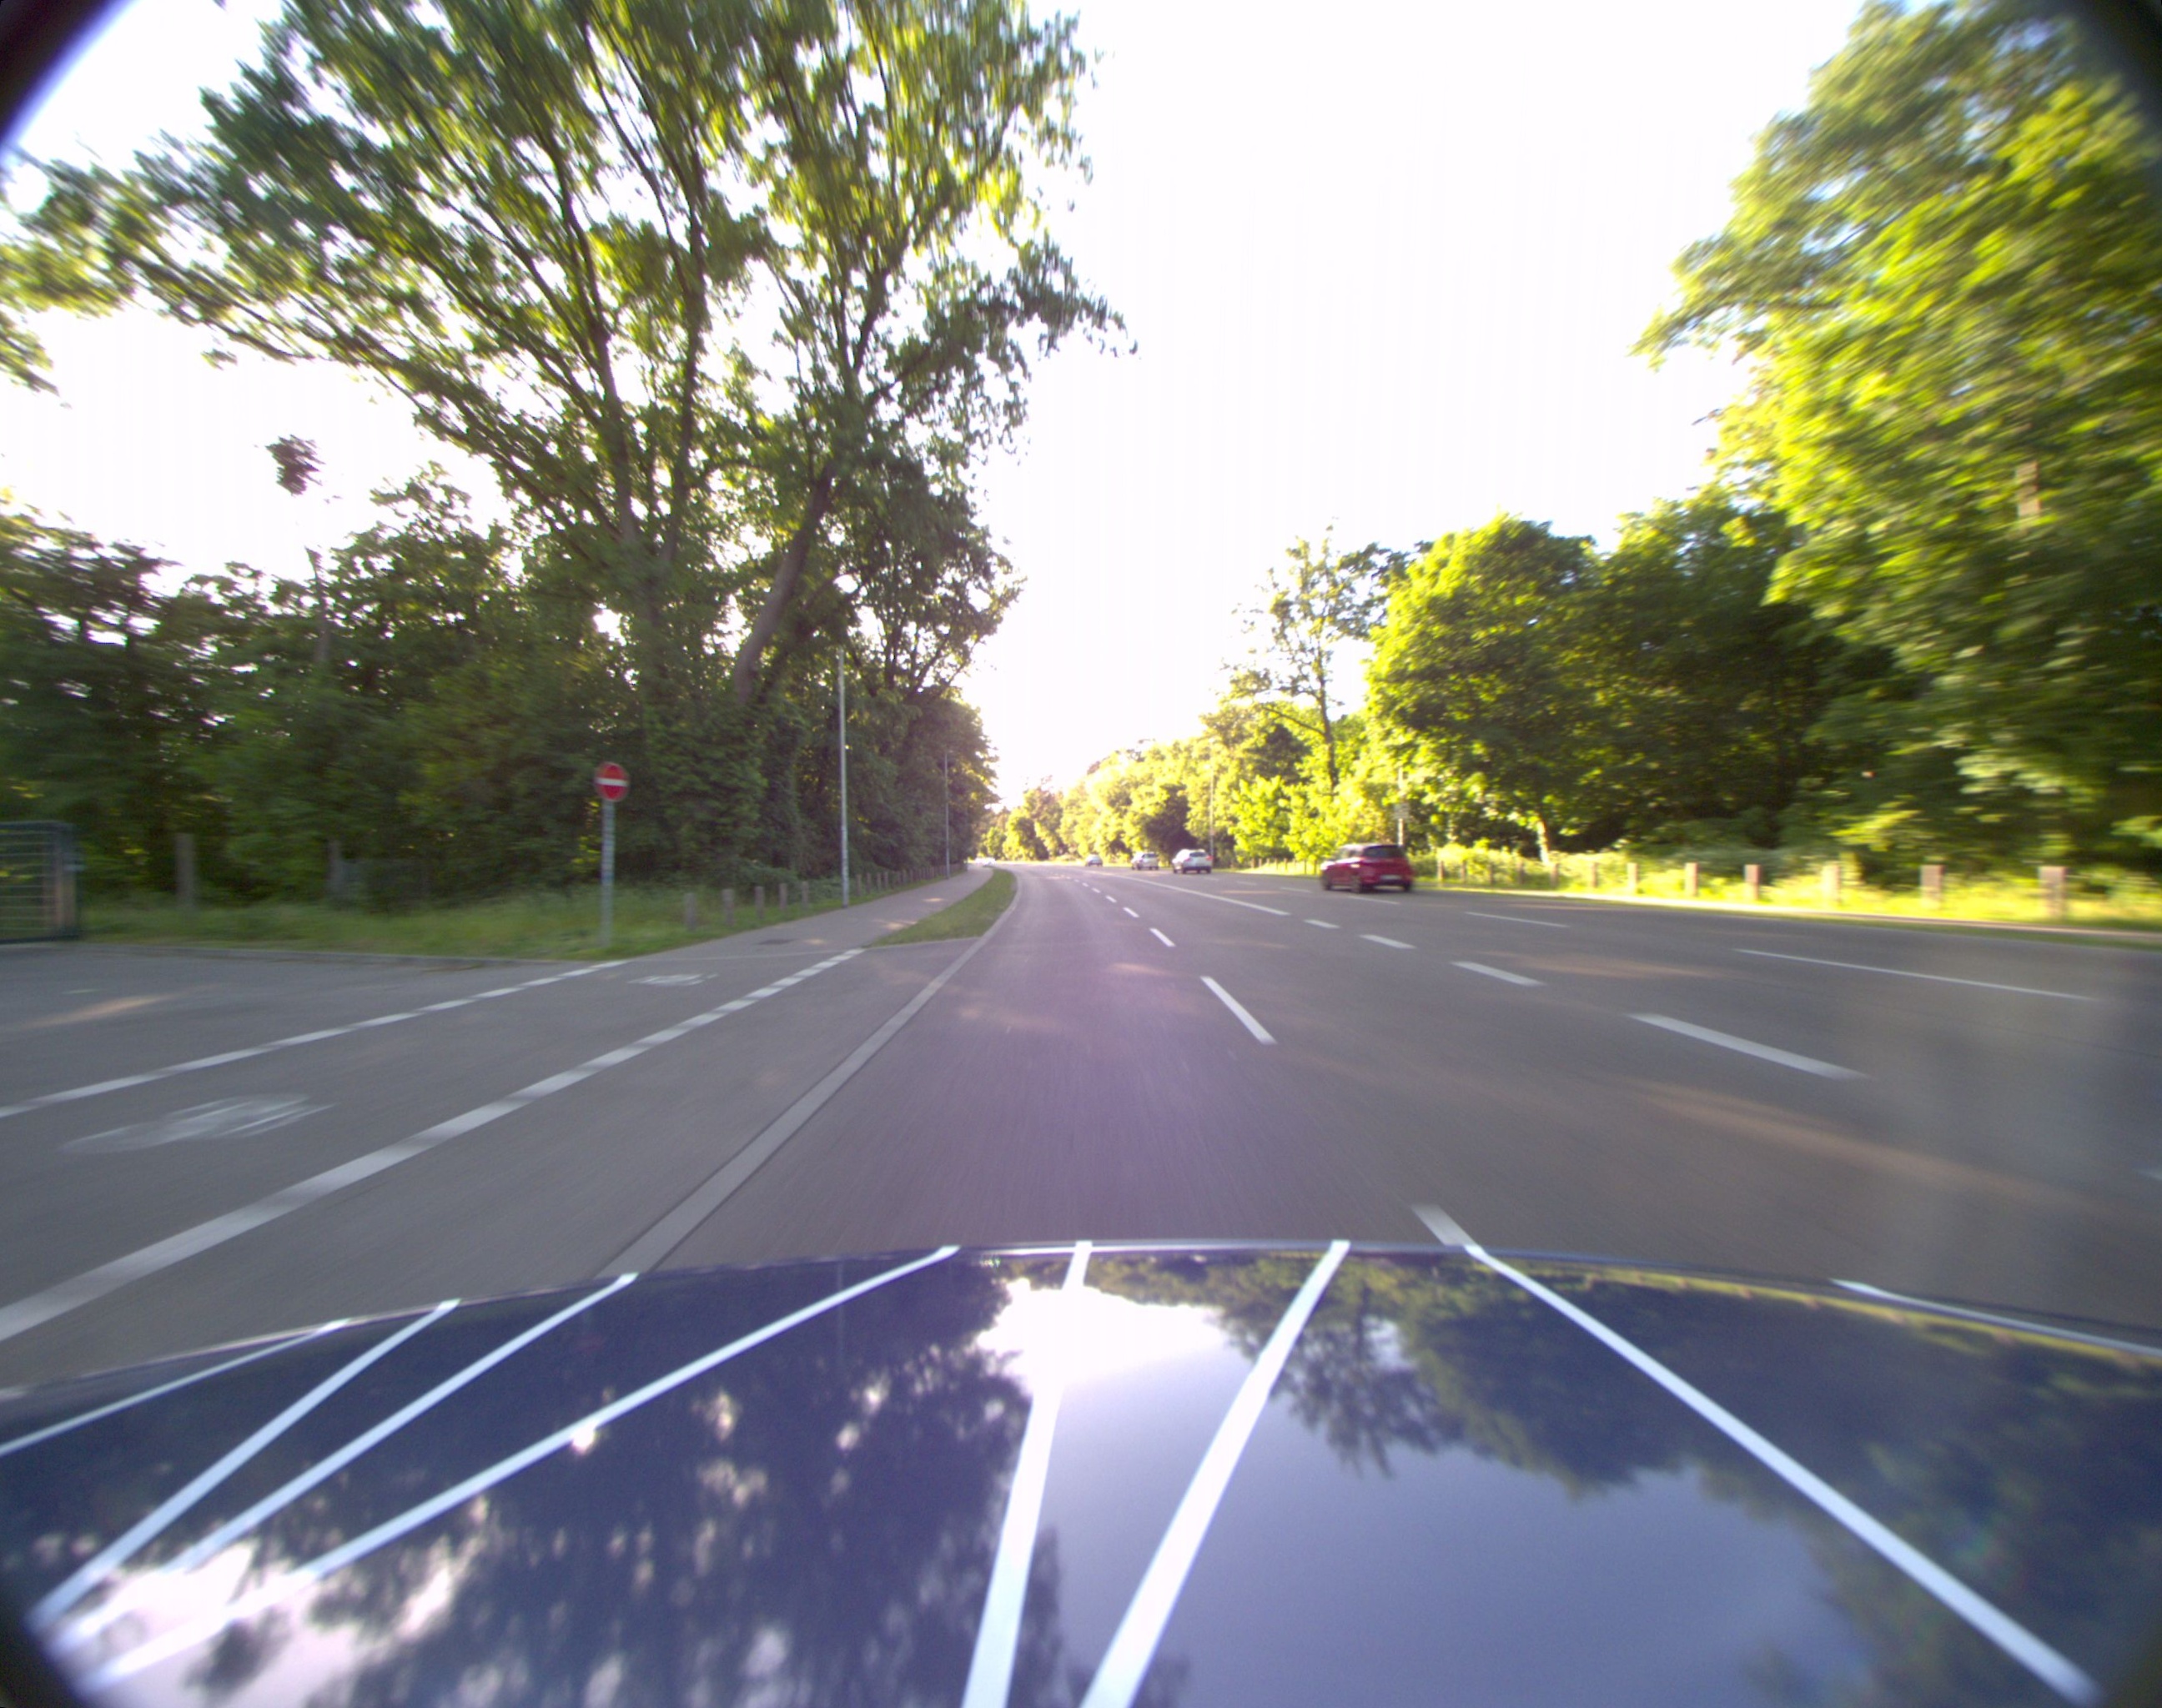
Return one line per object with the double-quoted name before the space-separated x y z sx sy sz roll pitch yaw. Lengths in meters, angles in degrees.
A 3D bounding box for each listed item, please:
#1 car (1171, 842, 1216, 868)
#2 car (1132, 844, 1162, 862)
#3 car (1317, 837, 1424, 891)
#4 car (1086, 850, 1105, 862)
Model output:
"car" 7.066 0.063 48.072 1.788 1.513 4.395 -2 0 -6
"car" 5.425 -0.098 63.110 1.785 1.455 4.272 0 1 -5
"car" 8.752 0.268 23.310 1.667 1.509 3.805 -1 1 -3
"car" 1.786 0.269 94.721 1.785 1.400 4.162 -2 0 -8
